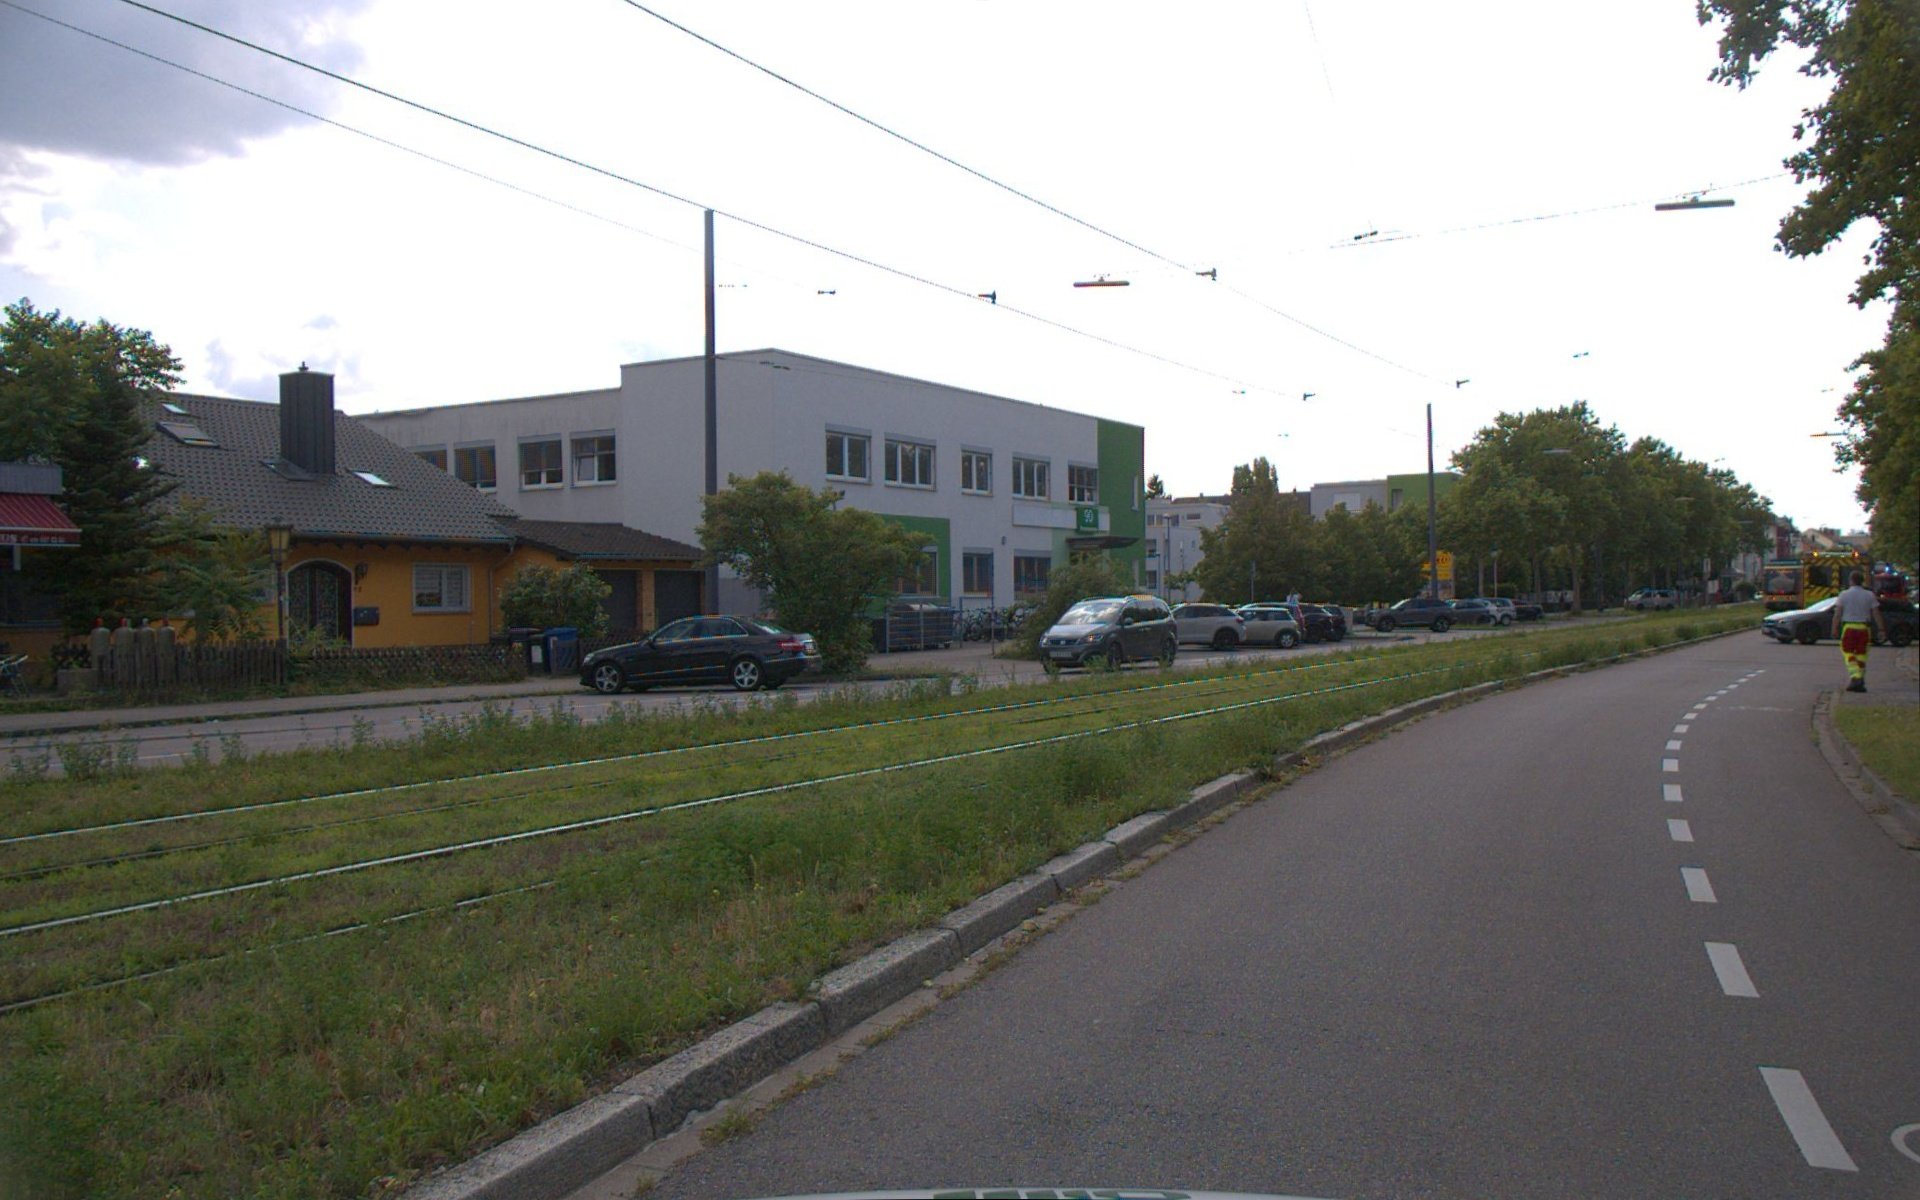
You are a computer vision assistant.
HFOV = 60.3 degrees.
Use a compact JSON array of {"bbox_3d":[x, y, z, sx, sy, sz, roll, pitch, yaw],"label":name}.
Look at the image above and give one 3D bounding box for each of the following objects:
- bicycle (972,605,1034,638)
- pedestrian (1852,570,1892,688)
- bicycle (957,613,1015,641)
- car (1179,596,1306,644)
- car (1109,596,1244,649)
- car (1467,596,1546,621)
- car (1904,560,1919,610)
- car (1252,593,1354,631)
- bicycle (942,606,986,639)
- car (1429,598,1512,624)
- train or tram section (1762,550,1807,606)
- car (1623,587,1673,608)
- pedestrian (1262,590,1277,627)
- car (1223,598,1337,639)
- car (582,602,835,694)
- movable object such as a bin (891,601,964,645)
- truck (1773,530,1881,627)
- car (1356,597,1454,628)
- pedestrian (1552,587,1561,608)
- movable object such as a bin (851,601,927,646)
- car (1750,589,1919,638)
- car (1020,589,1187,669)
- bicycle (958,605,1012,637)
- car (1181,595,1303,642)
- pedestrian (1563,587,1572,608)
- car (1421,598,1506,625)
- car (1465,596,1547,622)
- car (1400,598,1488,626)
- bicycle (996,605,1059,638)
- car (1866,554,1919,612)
[{"bbox_3d":[1.611,0.802,61.887,2.305,1.186,0.757,-1,0,37],"label":"bicycle"},{"bbox_3d":[13.450,0.427,24.400,0.483,1.713,0.586,0,-1,27],"label":"pedestrian"},{"bbox_3d":[0.963,0.997,61.216,2.115,0.987,0.728,-1,0,35],"label":"bicycle"},{"bbox_3d":[9.907,0.697,58.321,4.211,1.658,1.903,0,0,2],"label":"car"},{"bbox_3d":[7.258,0.748,55.697,4.215,1.658,1.901,-1,0,-3],"label":"car"},{"bbox_3d":[33.035,0.508,100.078,4.209,1.387,1.903,-1,0,8],"label":"car"},{"bbox_3d":[67.315,-0.940,110.329,7.288,3.388,2.973,1,0,26],"label":"car"},{"bbox_3d":[14.328,0.507,69.200,4.068,1.530,1.862,0,0,8],"label":"car"},{"bbox_3d":[0.134,0.821,59.928,0.700,1.186,1.595,-1,0,-43],"label":"bicycle"},{"bbox_3d":[28.600,0.628,92.795,4.209,1.387,1.903,-1,0,8],"label":"car"},{"bbox_3d":[56.604,-1.507,113.677,2.438,3.659,7.418,-1,0,24],"label":"train or tram section"},{"bbox_3d":[64.700,-0.249,155.536,3.906,1.870,1.821,1,0,-1],"label":"car"},{"bbox_3d":[14.465,0.405,77.255,0.583,1.704,0.541,-1,0,22],"label":"pedestrian"},{"bbox_3d":[12.218,0.704,63.394,4.070,1.530,1.861,0,0,3],"label":"car"},{"bbox_3d":[-4.900,0.933,32.541,4.467,1.608,2.002,-2,0,10],"label":"car"},{"bbox_3d":[-1.011,0.722,52.655,1.348,1.350,2.125,-1,0,34],"label":"movable object such as a bin"},{"bbox_3d":[32.785,-0.775,62.412,3.125,3.375,7.506,-1,0,31],"label":"truck"},{"bbox_3d":[21.070,0.587,78.465,4.209,1.387,1.903,-1,0,7],"label":"car"},{"bbox_3d":[49.955,-0.230,138.532,0.609,1.759,0.645,1,0,30],"label":"pedestrian"},{"bbox_3d":[-2.163,0.713,50.799,1.348,1.350,2.110,-1,0,34],"label":"movable object such as a bin"},{"bbox_3d":[26.572,0.412,49.998,4.493,1.418,1.842,-1,0,8],"label":"car"},{"bbox_3d":[3.463,0.639,38.982,1.958,1.752,4.728,-1,0,32],"label":"car"},{"bbox_3d":[0.878,0.747,58.350,1.757,1.100,0.735,-1,0,28],"label":"bicycle"},{"bbox_3d":[10.344,0.668,60.911,4.211,1.658,1.903,0,0,2],"label":"car"},{"bbox_3d":[51.120,-0.214,139.119,0.609,1.759,0.645,1,0,30],"label":"pedestrian"},{"bbox_3d":[27.497,0.624,90.444,4.209,1.387,1.903,-1,0,8],"label":"car"},{"bbox_3d":[31.546,0.510,95.624,4.209,1.387,1.903,-1,0,8],"label":"car"},{"bbox_3d":[25.642,0.612,87.692,4.209,1.387,1.903,-1,0,8],"label":"car"},{"bbox_3d":[2.551,0.819,62.651,2.371,1.186,0.745,-1,0,38],"label":"bicycle"},{"bbox_3d":[57.059,-1.016,101.068,2.909,3.388,7.447,1,0,29],"label":"car"}]
